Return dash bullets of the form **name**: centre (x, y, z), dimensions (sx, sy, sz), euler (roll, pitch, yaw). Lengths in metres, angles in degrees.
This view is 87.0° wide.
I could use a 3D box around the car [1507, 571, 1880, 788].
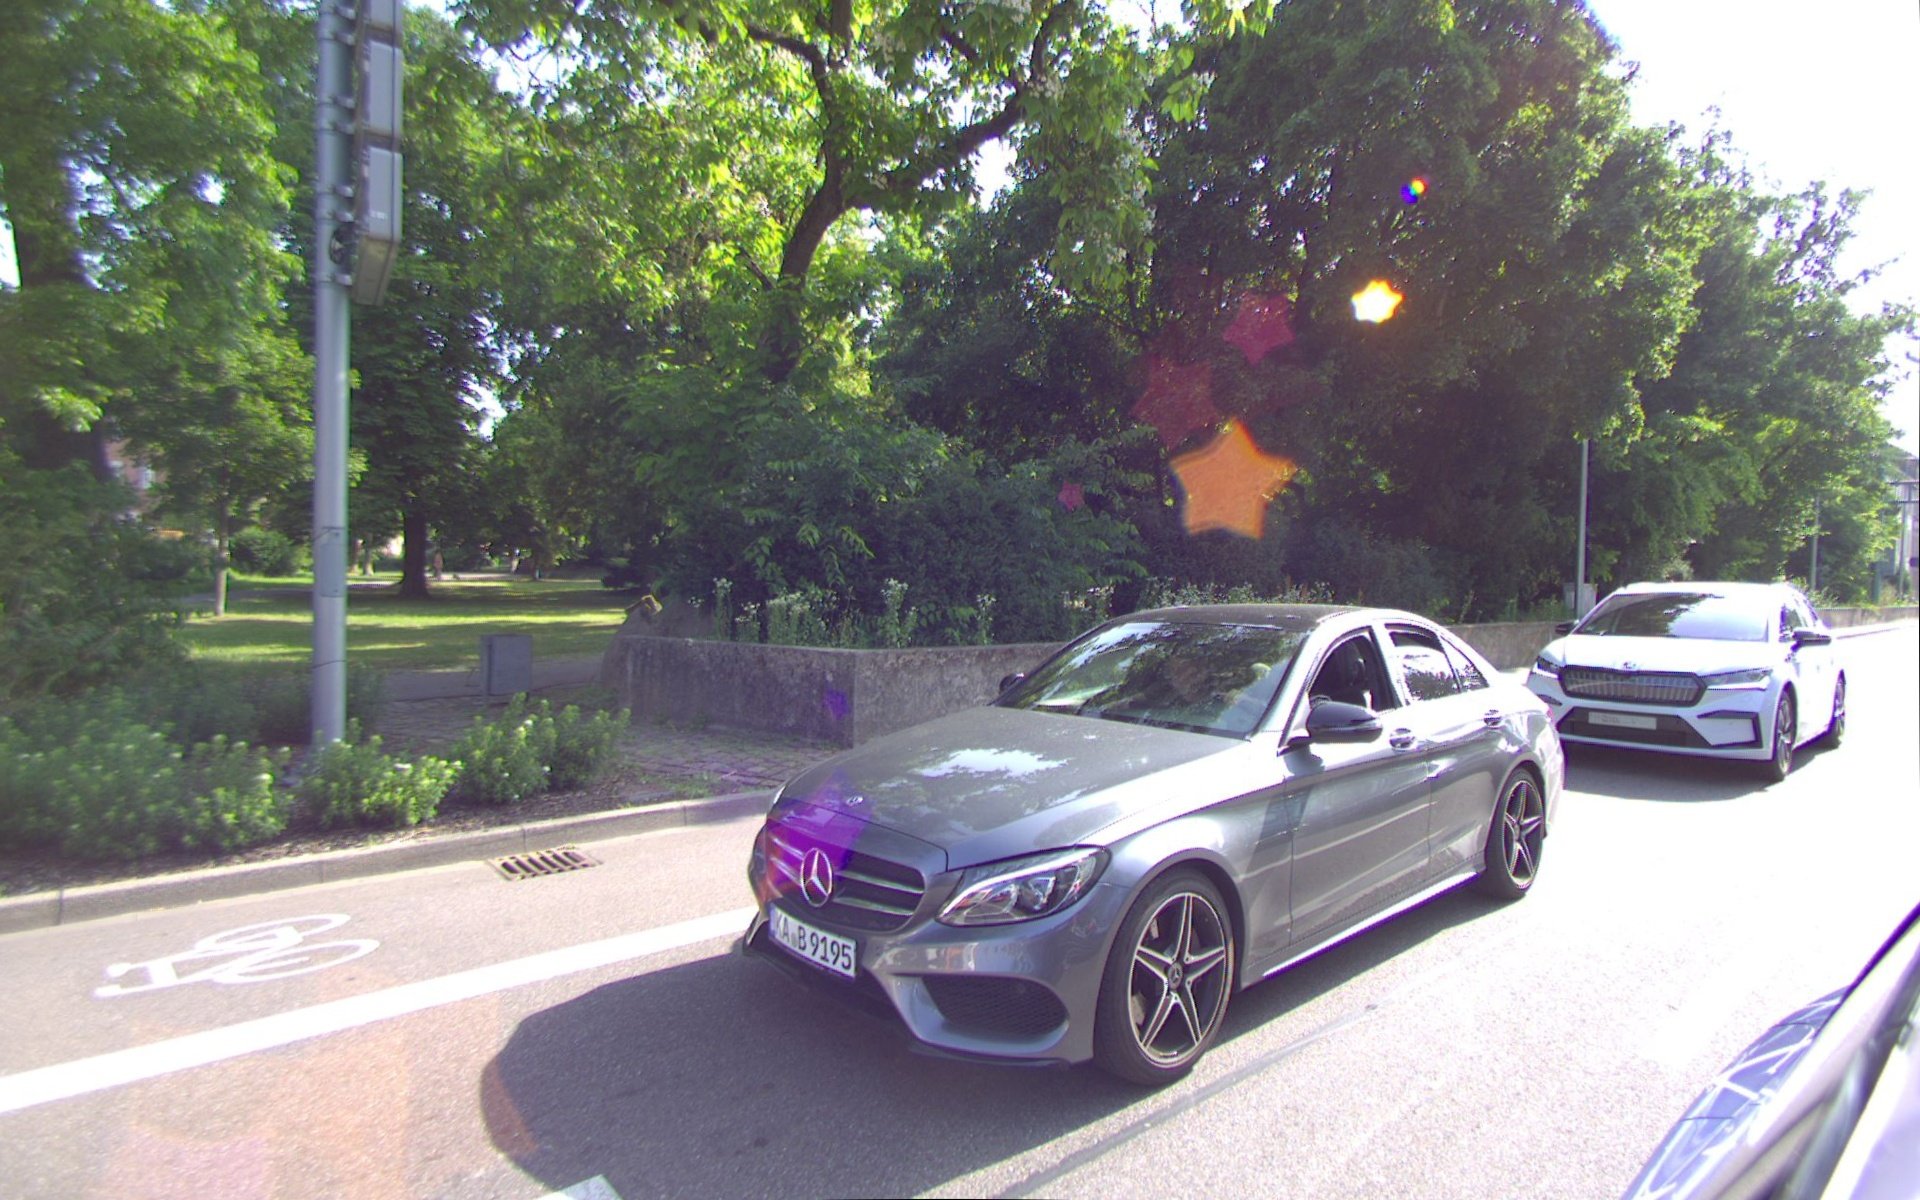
- **car**: centre (6.990, 0.549, 9.487), dimensions (4.175, 1.590, 1.896), euler (0, 1, -40)
